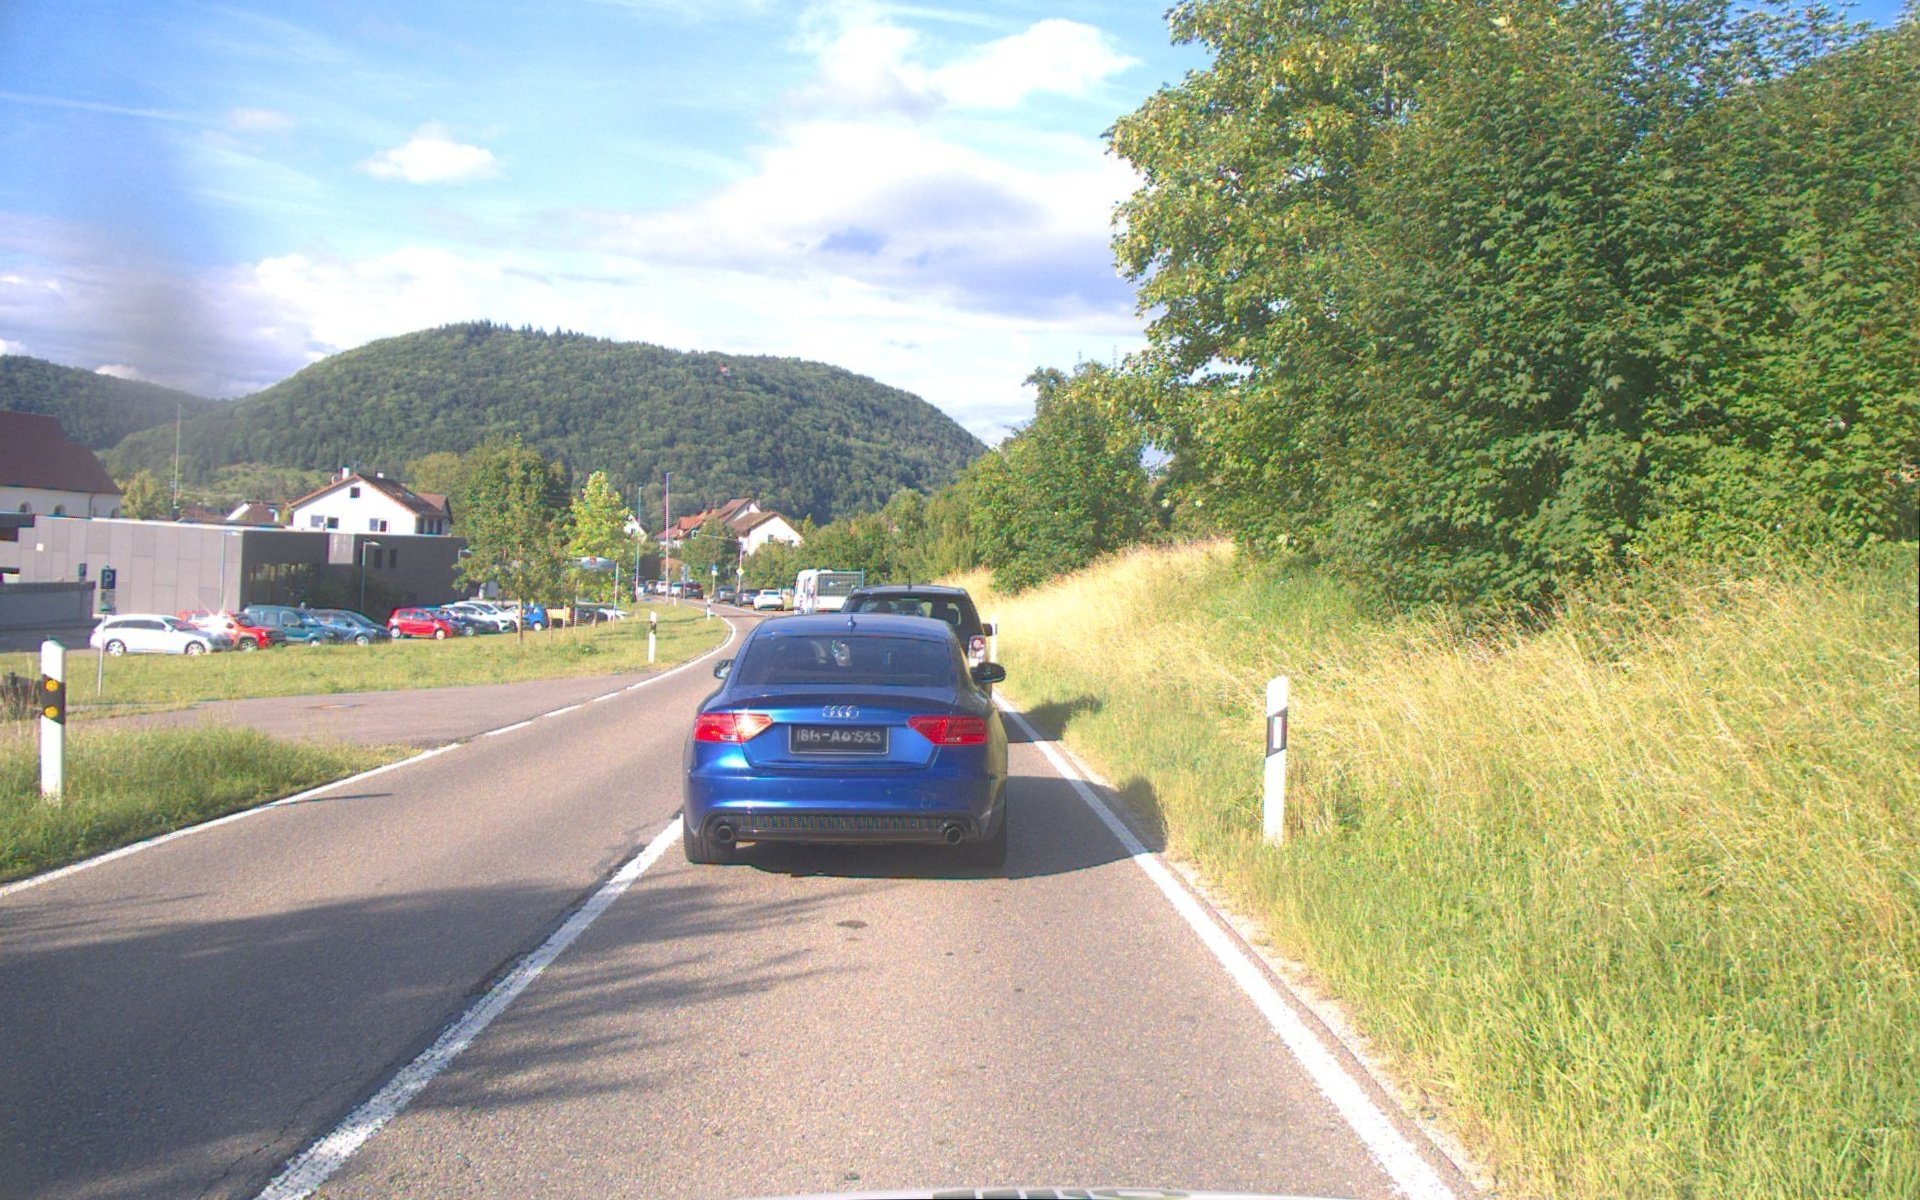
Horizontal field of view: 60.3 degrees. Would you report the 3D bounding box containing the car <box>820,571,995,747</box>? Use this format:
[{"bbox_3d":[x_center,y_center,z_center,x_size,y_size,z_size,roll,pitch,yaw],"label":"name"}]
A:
[{"bbox_3d":[-0.516,0.597,18.330,1.718,1.710,3.846,1,0,0],"label":"car"}]

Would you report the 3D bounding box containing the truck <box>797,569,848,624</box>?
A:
[{"bbox_3d":[-6.959,-0.169,82.923,2.188,2.615,6.696,1,0,-8],"label":"truck"}]

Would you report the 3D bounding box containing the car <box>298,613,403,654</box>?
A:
[{"bbox_3d":[-26.976,1.487,73.328,3.907,1.741,1.999,1,0,-3],"label":"car"}]

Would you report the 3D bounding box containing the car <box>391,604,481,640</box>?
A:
[{"bbox_3d":[-26.466,1.125,83.633,3.907,1.741,1.999,1,0,-3],"label":"car"}]

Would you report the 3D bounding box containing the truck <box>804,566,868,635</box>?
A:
[{"bbox_3d":[-5.096,0.030,67.060,2.188,2.615,6.092,1,0,-8],"label":"truck"}]

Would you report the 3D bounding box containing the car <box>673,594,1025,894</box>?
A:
[{"bbox_3d":[-0.545,0.721,10.105,1.718,1.455,3.846,1,0,0],"label":"car"}]

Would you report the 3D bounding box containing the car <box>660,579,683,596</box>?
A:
[{"bbox_3d":[-30.045,-1.266,172.077,1.817,1.742,3.980,1,0,-18],"label":"car"}]

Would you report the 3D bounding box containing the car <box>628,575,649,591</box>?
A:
[{"bbox_3d":[-37.989,-2.004,195.385,1.817,1.742,3.979,1,0,-19],"label":"car"}]

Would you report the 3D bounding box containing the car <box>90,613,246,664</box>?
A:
[{"bbox_3d":[-28.656,1.388,59.981,4.637,1.741,1.999,1,0,-3],"label":"car"}]

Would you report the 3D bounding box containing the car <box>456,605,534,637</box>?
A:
[{"bbox_3d":[-26.714,1.182,95.118,3.907,1.741,1.999,1,0,-3],"label":"car"}]

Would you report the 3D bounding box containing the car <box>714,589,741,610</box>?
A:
[{"bbox_3d":[-20.039,-0.022,142.271,1.815,1.742,3.984,1,0,-15],"label":"car"}]

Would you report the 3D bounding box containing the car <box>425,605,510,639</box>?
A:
[{"bbox_3d":[-26.241,1.153,88.185,3.907,1.741,1.999,1,0,-3],"label":"car"}]

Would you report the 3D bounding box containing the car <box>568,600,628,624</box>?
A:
[{"bbox_3d":[-25.818,0.868,118.159,3.907,1.606,1.751,1,0,-3],"label":"car"}]

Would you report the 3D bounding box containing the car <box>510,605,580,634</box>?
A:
[{"bbox_3d":[-25.967,1.240,103.591,3.907,1.741,1.999,1,0,-3],"label":"car"}]

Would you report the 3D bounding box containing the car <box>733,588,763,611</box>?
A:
[{"bbox_3d":[-16.472,-0.036,128.391,1.815,1.742,3.984,1,0,-15],"label":"car"}]

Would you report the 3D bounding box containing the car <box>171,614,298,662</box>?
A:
[{"bbox_3d":[-27.592,1.422,63.006,3.907,1.741,1.999,1,0,-3],"label":"car"}]

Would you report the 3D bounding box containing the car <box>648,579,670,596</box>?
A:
[{"bbox_3d":[-32.838,-1.359,180.372,1.817,1.742,3.979,1,0,-19],"label":"car"}]

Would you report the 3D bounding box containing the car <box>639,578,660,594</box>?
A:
[{"bbox_3d":[-35.379,-1.536,188.423,1.817,1.742,3.979,1,0,-19],"label":"car"}]

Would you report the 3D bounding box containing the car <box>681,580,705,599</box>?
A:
[{"bbox_3d":[-26.224,-0.999,162.188,1.816,1.742,3.982,1,0,-17],"label":"car"}]

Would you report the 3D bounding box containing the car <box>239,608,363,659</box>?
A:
[{"bbox_3d":[-27.370,1.387,68.820,4.318,2.043,1.999,1,0,-3],"label":"car"}]

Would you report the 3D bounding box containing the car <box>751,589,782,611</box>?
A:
[{"bbox_3d":[-13.513,-0.012,115.389,1.813,1.508,3.988,1,0,-12],"label":"car"}]

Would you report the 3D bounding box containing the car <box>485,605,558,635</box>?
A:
[{"bbox_3d":[-26.743,1.212,100.905,3.907,1.741,1.999,1,0,-3],"label":"car"}]

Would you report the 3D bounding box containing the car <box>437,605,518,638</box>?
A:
[{"bbox_3d":[-26.765,1.164,91.833,3.907,1.741,1.999,1,0,-3],"label":"car"}]

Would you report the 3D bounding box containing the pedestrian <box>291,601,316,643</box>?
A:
[{"bbox_3d":[-32.613,1.074,82.165,0.808,2.049,0.973,1,-1,-1],"label":"pedestrian"}]
